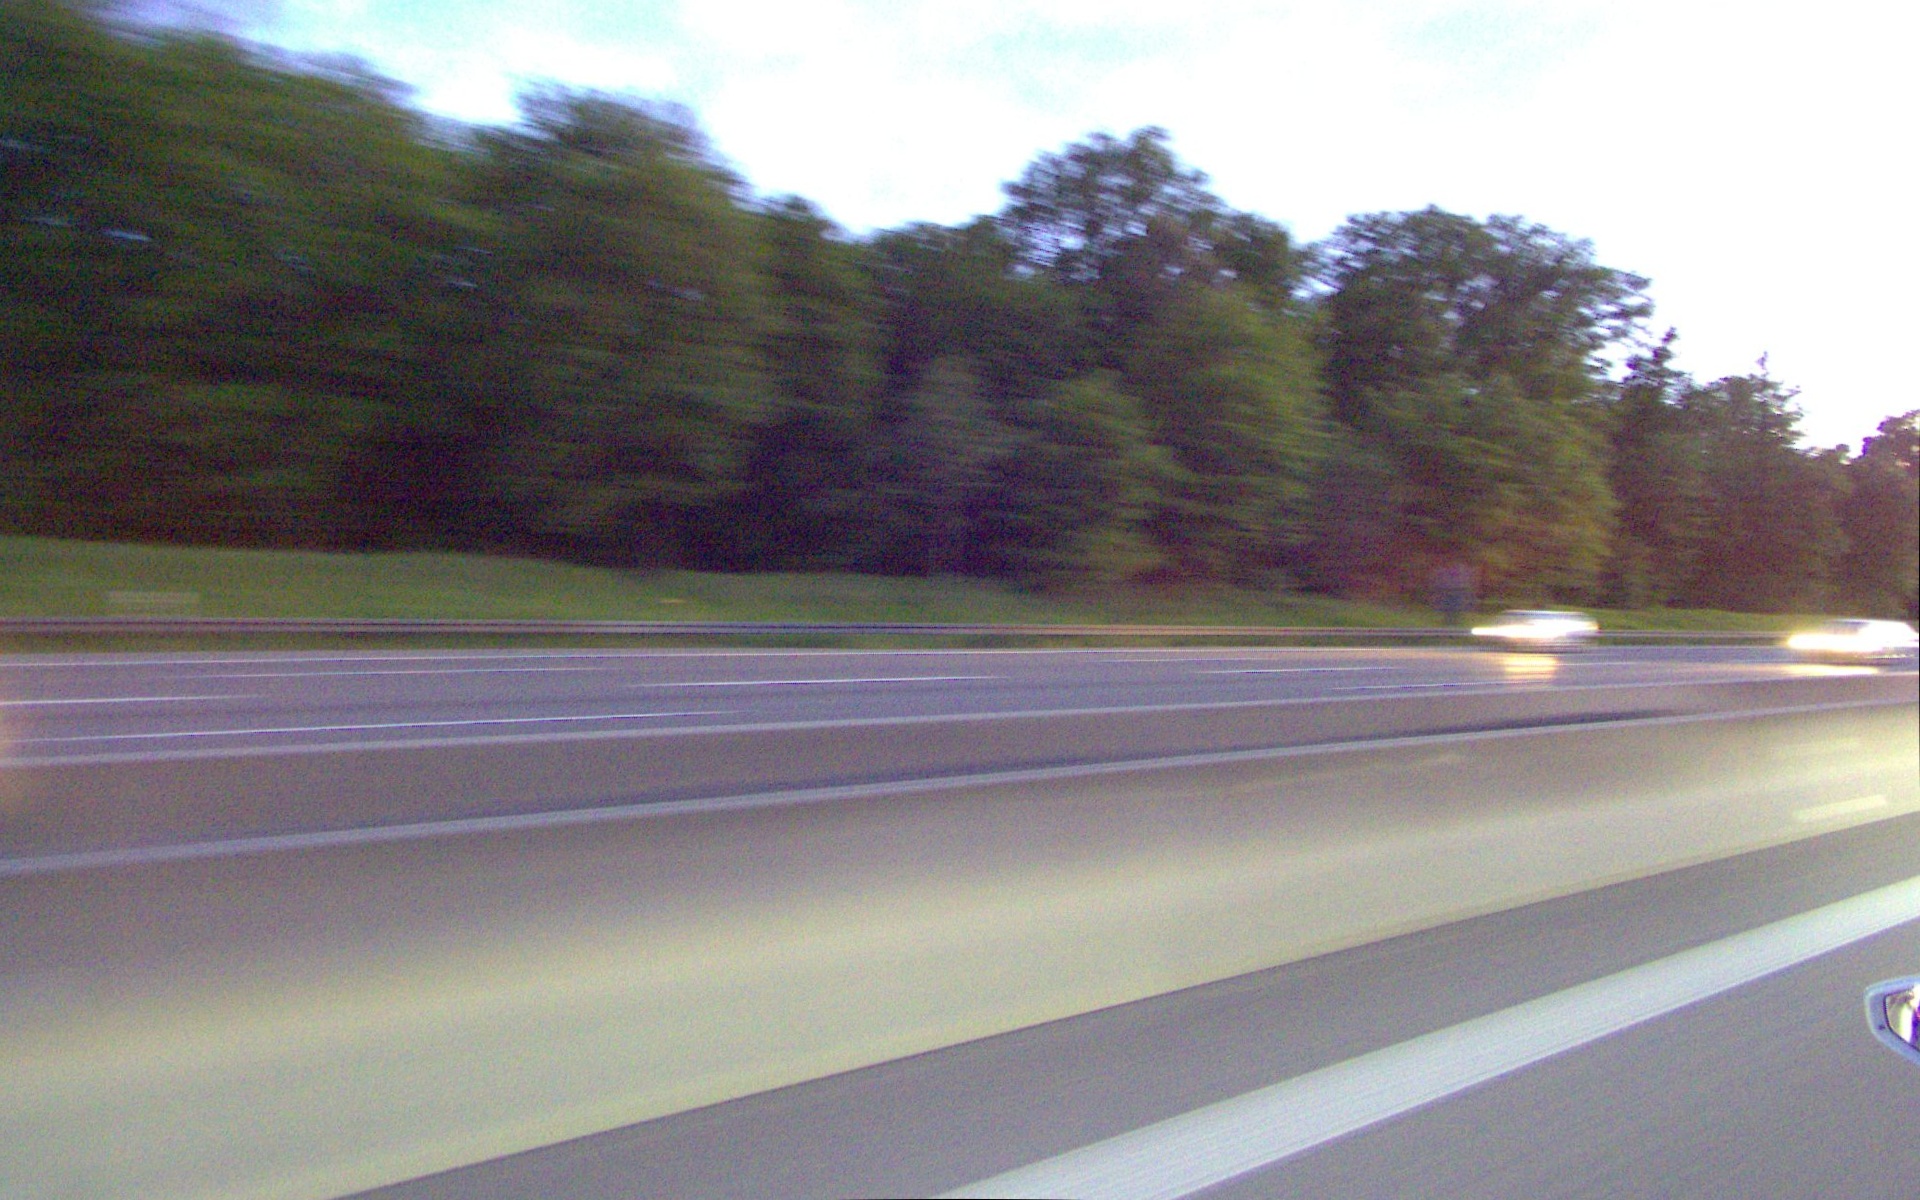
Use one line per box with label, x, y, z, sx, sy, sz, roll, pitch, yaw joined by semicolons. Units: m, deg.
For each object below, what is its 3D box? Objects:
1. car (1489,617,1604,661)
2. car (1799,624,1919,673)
car;21.741;1.408;37.224;3.948;1.483;1.836;1;1;-27
car;30.823;1.600;34.188;4.715;1.483;1.835;1;1;-28
